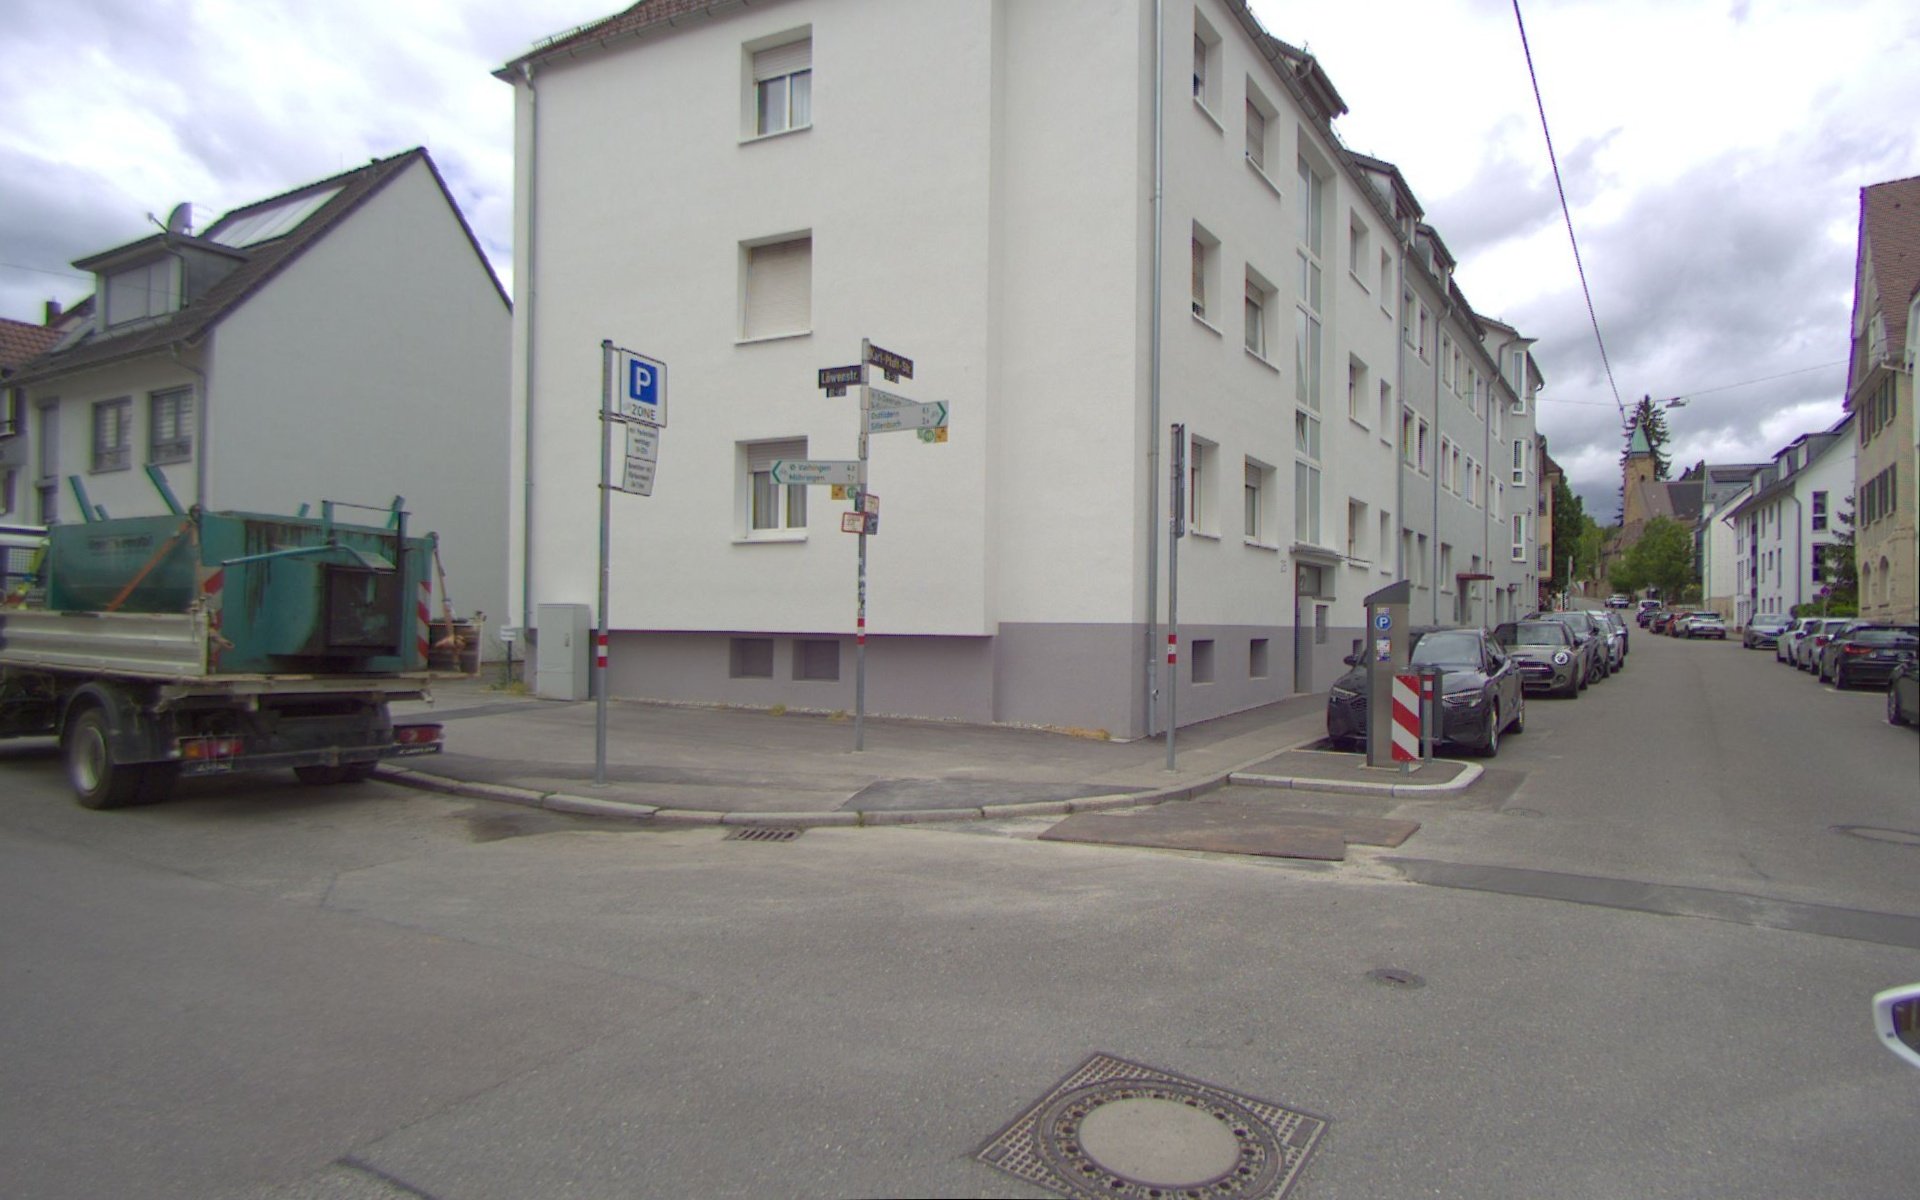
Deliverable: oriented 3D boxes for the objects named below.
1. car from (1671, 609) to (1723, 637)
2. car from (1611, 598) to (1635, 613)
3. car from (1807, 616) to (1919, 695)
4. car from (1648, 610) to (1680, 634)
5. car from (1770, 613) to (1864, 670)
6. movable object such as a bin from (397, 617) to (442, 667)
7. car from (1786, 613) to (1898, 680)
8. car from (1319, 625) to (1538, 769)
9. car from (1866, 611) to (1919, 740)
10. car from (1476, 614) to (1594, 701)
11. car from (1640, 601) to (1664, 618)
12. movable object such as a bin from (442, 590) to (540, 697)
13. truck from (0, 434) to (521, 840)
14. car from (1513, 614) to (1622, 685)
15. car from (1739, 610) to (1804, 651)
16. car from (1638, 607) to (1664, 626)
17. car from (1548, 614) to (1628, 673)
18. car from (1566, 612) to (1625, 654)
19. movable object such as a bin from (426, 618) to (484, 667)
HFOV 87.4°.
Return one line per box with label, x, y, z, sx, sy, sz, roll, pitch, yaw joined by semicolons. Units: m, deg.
car;41.760;1.277;57.012;1.756;1.499;3.621;1;1;27
car;82.245;0.658;124.710;2.149;1.716;3.620;1;1;29
car;19.157;1.095;21.053;1.645;1.404;4.016;2;1;33
car;46.922;1.430;67.014;1.645;1.499;3.615;1;1;33
car;25.440;1.180;29.926;1.645;1.499;3.615;2;1;33
movable object such as a bin;-11.939;0.922;22.167;0.802;1.070;0.565;0;-3;38
car;22.717;1.129;26.002;1.645;1.499;3.615;2;1;33
car;5.959;1.036;12.484;1.796;1.410;4.284;-1;-1;34
car;13.144;0.966;12.856;1.645;1.553;4.016;2;1;33
car;11.281;1.048;19.608;1.707;1.509;3.708;-1;-1;34
car;62.466;0.856;90.677;1.645;1.499;3.615;1;1;33
movable object such as a bin;-7.581;0.686;16.266;0.984;1.639;1.009;1;-1;30
truck;-6.972;0.272;8.938;6.175;2.585;2.314;0;-2;30
car;14.146;1.075;23.319;1.709;1.489;3.703;-1;-1;38
car;32.837;1.197;40.701;1.645;1.499;3.615;2;1;33
car;55.962;1.304;81.363;1.645;1.499;3.615;1;1;33
car;17.212;1.131;27.478;1.707;1.467;3.708;-1;-1;34
car;23.440;1.176;37.008;1.707;1.467;3.708;-1;-1;34
movable object such as a bin;-11.477;0.962;22.822;0.878;1.070;0.855;0;-3;38
